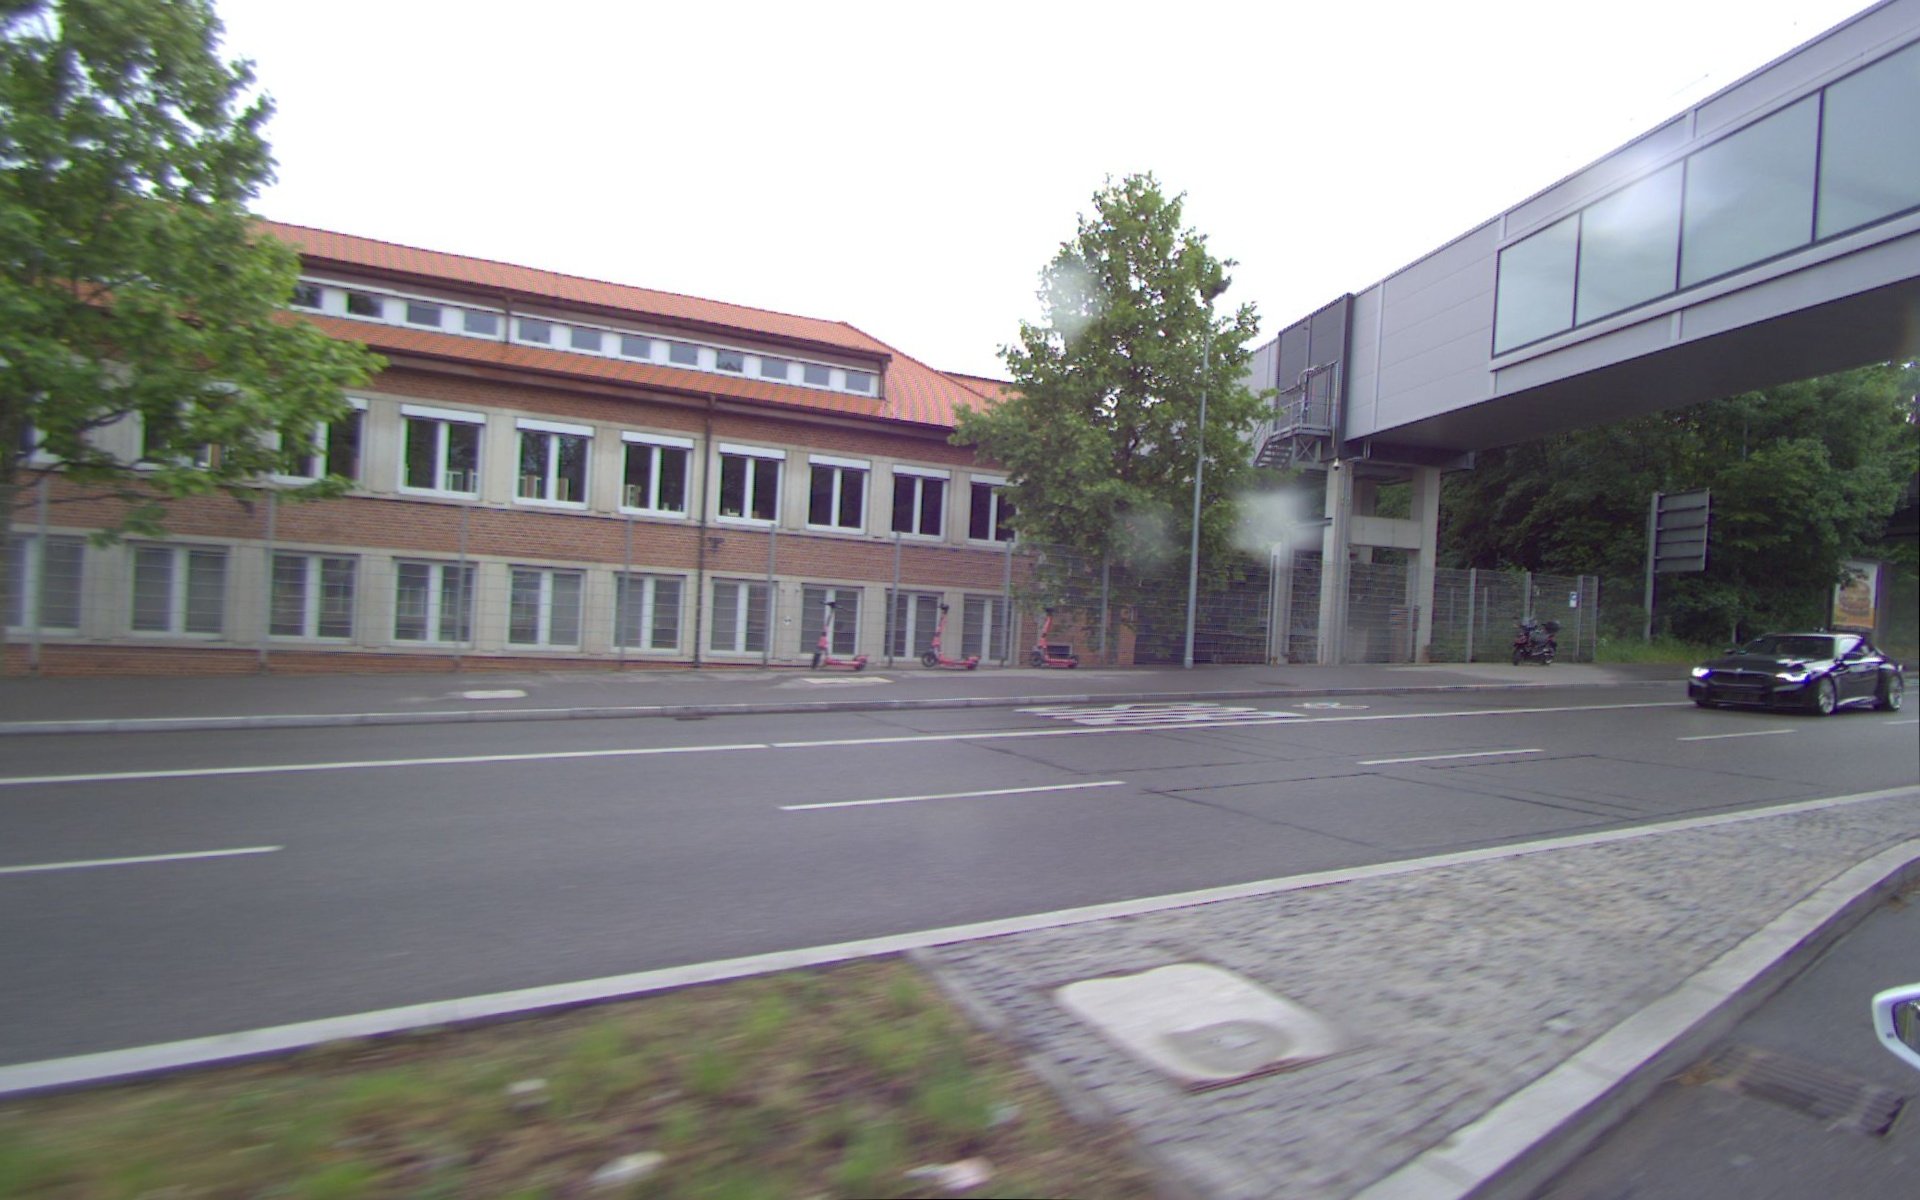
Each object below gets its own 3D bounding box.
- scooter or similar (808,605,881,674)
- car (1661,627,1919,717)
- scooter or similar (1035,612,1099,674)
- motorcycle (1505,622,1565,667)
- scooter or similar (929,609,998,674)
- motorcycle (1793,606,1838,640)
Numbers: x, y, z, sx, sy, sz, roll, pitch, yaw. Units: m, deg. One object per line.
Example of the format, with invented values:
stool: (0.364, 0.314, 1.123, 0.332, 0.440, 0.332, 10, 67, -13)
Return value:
scooter or similar: (-2.103, 0.713, 18.306, 1.291, 1.234, 0.310, 1, 0, -28)
car: (15.082, 1.220, 18.199, 4.699, 1.380, 2.055, 1, 0, -29)
scooter or similar: (2.198, 0.875, 20.565, 1.289, 1.234, 0.310, 1, 0, -23)
motorcycle: (15.959, 1.216, 27.869, 1.971, 1.221, 0.467, 1, 0, -28)
scooter or similar: (0.071, 0.805, 19.495, 1.286, 1.234, 0.311, 1, 0, -16)
motorcycle: (30.235, 0.801, 35.496, 1.905, 1.174, 0.467, 1, 0, -25)
